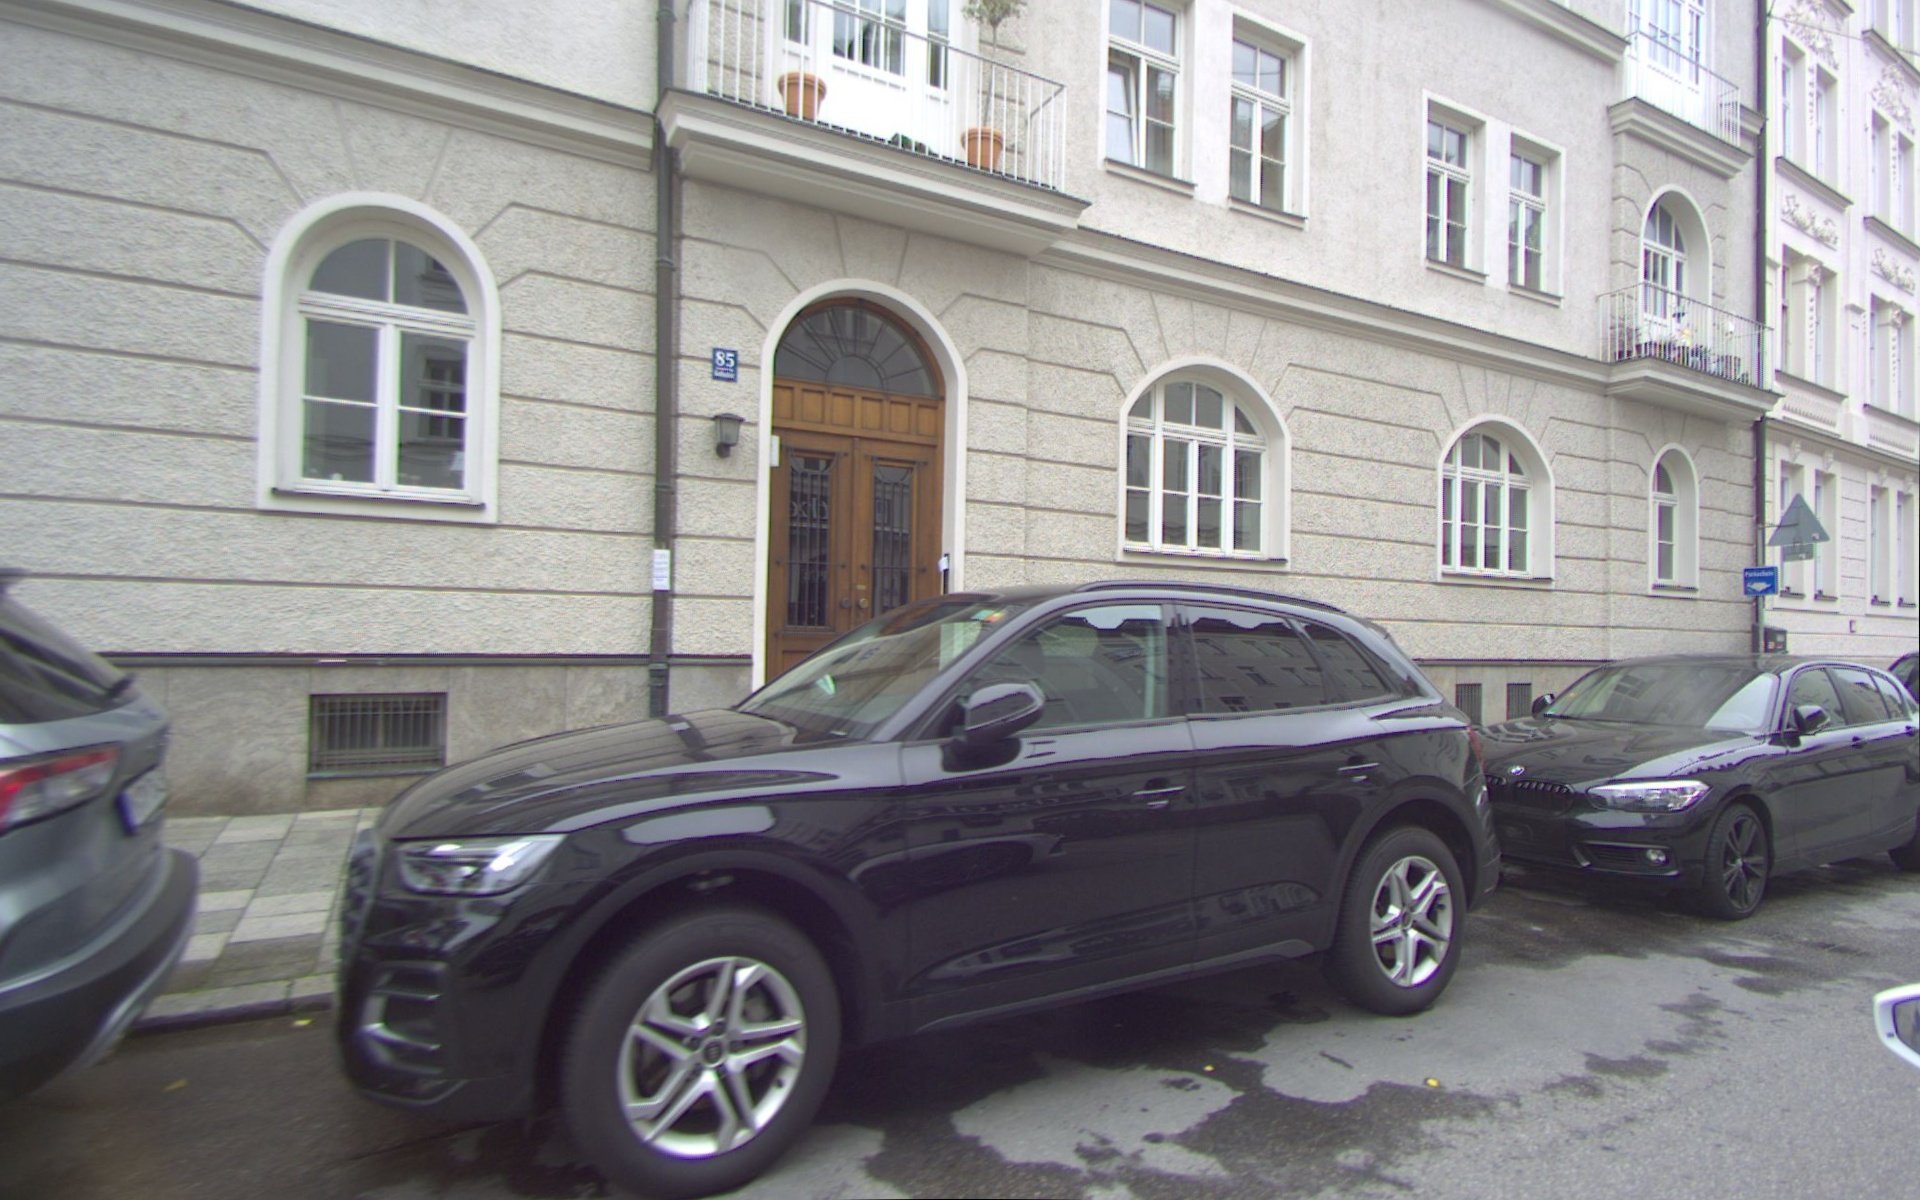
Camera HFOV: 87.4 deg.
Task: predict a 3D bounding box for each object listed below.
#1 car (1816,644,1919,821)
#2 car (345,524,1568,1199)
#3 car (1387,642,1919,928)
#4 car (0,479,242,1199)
[{"bbox_3d":[9.884,1.210,9.612,3.492,1.533,1.608,2,-2,-32],"label":"car"},{"bbox_3d":[0.203,0.717,3.992,4.379,1.620,1.868,2,-1,-29],"label":"car"},{"bbox_3d":[4.925,1.032,6.783,4.042,1.425,1.648,2,-3,-29],"label":"car"},{"bbox_3d":[-4.047,0.548,1.926,4.166,1.700,1.826,2,-1,-32],"label":"car"}]
